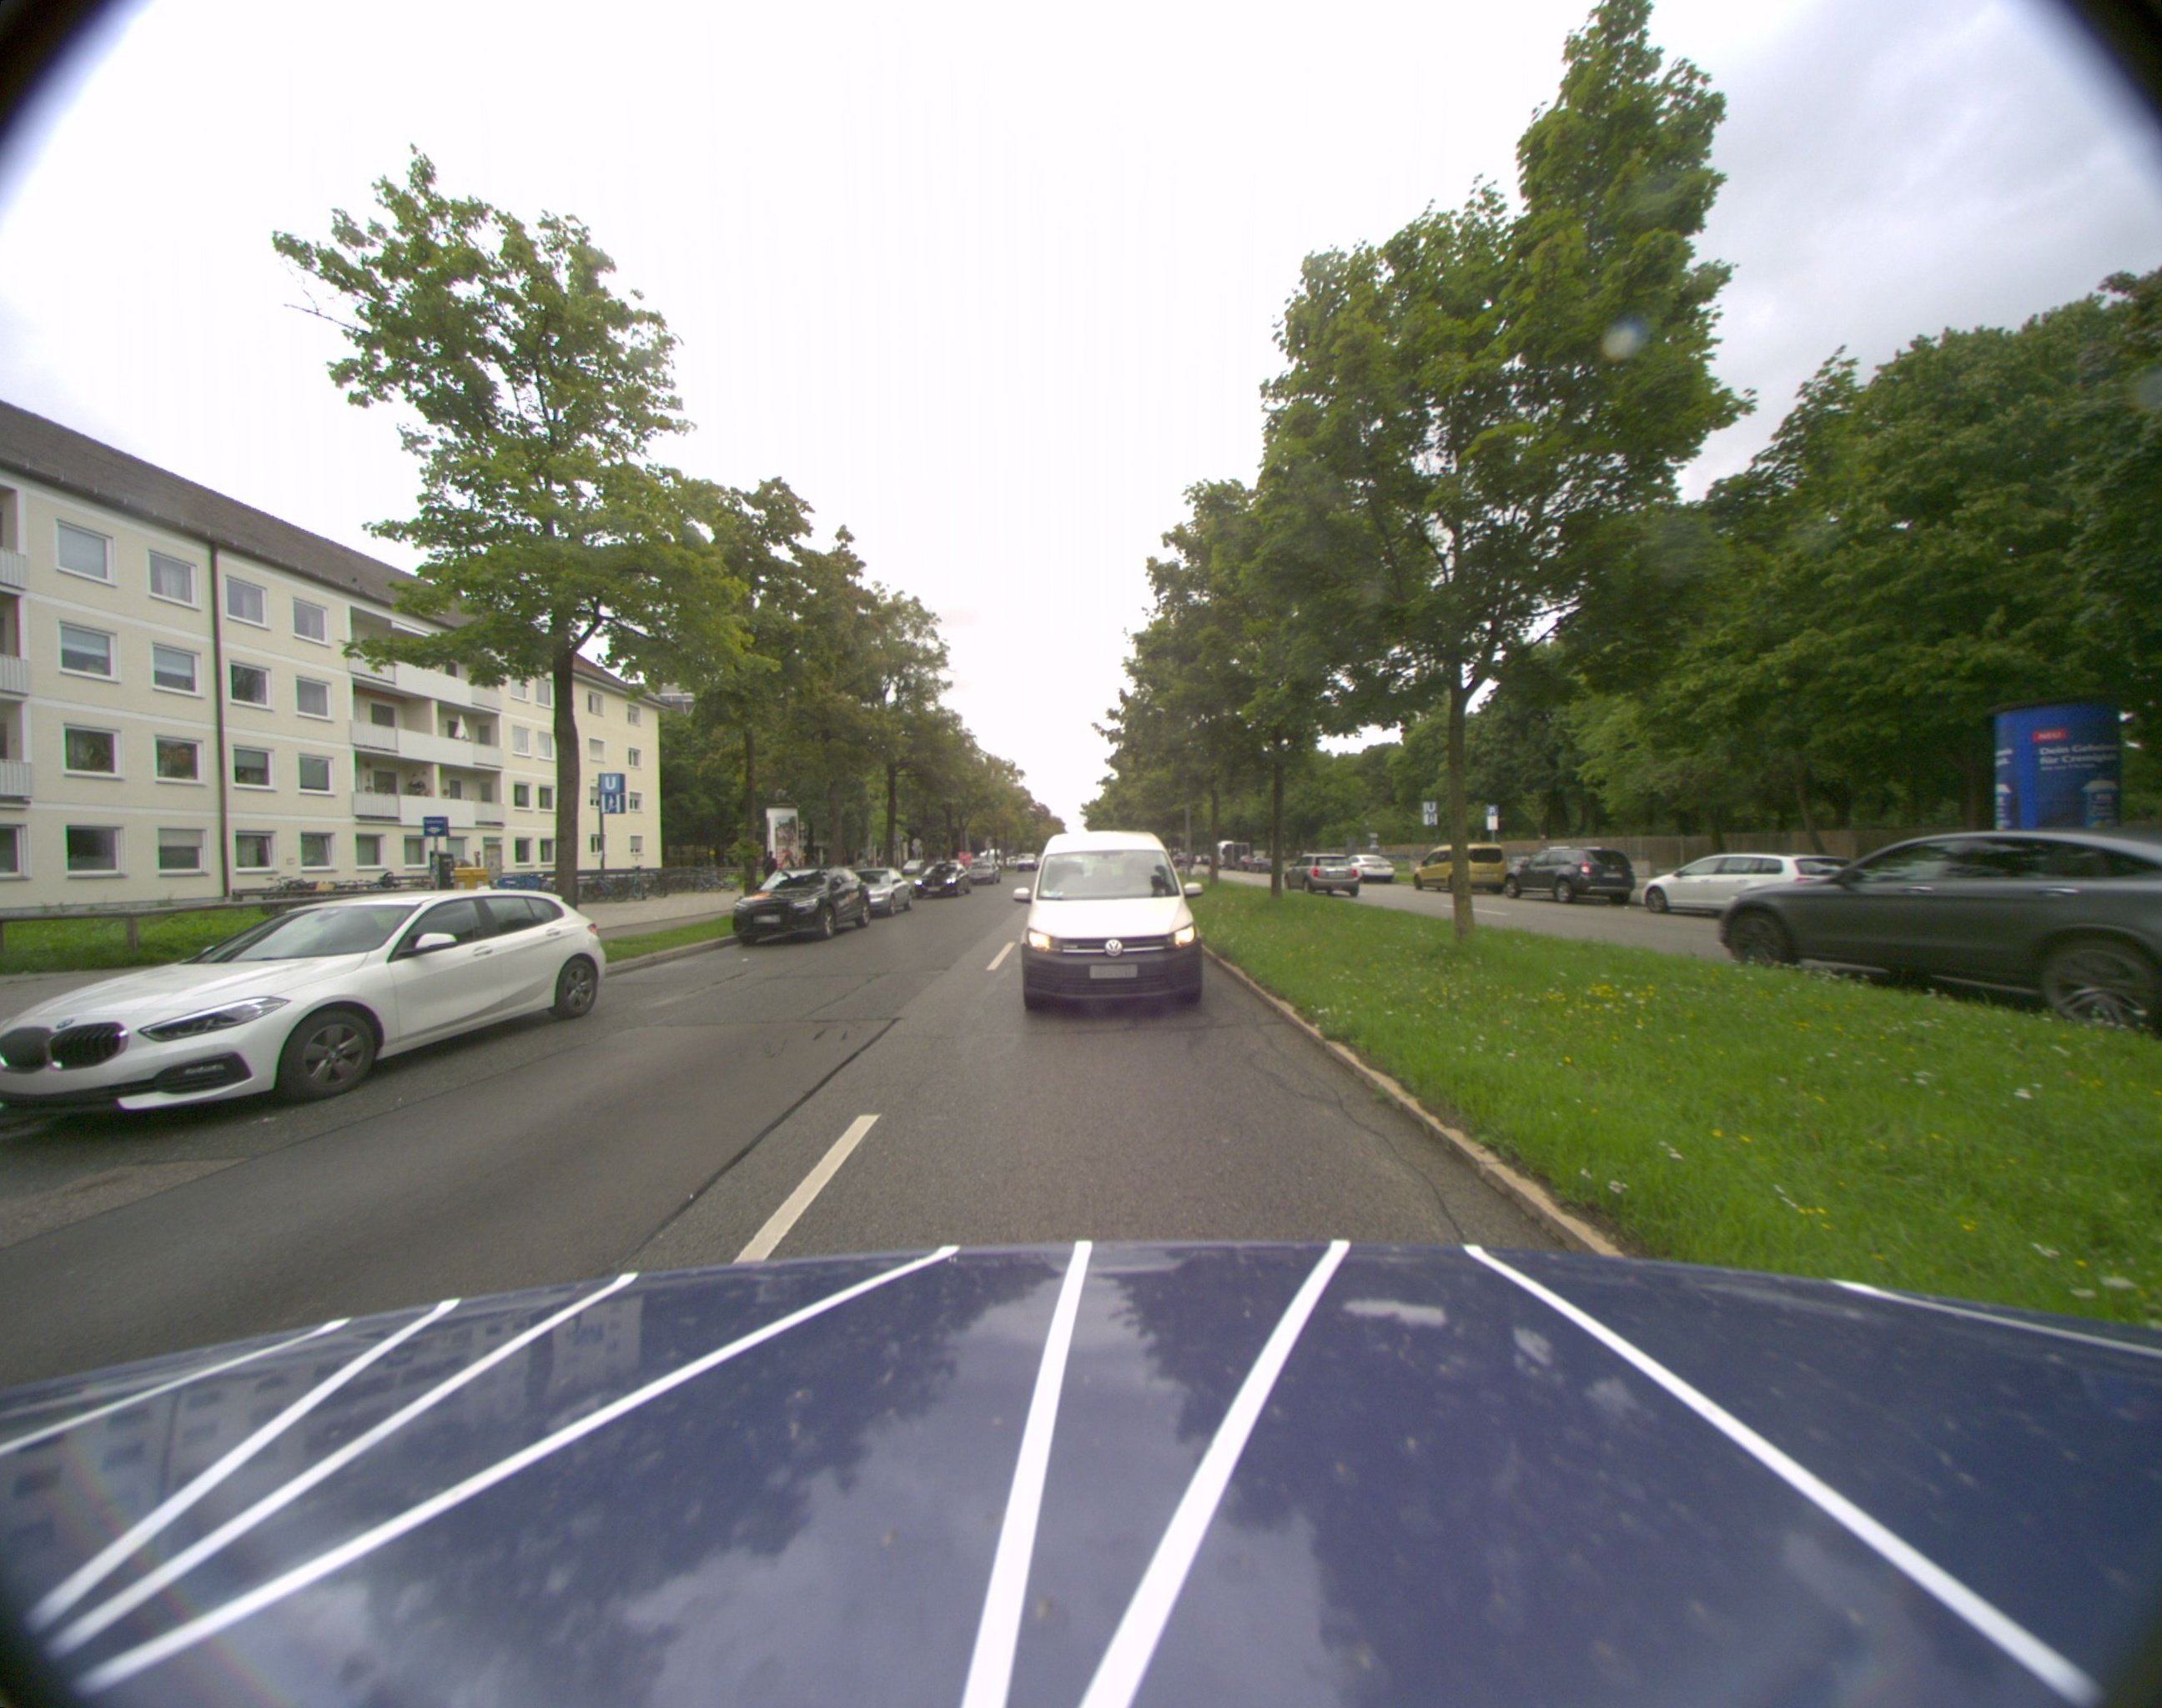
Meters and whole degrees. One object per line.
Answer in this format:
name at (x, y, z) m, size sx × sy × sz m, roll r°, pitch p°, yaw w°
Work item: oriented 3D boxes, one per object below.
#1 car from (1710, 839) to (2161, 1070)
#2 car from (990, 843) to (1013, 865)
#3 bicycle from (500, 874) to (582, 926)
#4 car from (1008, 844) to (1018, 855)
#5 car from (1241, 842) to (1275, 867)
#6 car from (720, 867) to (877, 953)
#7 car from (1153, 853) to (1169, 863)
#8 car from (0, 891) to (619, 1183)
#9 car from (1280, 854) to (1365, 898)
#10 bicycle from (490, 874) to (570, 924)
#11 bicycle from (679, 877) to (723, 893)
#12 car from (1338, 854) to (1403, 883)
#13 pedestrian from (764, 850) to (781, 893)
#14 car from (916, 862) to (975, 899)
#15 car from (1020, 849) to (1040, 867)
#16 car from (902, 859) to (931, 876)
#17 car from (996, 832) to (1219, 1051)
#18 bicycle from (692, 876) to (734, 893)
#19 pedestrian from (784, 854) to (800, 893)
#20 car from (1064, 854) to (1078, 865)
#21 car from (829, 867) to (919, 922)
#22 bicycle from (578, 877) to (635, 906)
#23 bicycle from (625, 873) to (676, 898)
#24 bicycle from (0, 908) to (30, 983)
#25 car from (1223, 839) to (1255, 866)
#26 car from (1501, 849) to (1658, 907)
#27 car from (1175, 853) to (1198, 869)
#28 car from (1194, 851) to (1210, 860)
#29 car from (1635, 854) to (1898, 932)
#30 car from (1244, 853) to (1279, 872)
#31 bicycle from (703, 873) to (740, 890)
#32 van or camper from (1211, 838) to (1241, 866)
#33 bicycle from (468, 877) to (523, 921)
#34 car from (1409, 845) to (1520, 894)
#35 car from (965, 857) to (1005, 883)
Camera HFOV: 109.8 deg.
car at (8.406, 0.687, 6.802) m, size 1.826 × 1.580 × 4.501 m, roll -2°, pitch 0°, yaw 1°
car at (-9.319, -0.070, 89.026) m, size 1.998 × 2.440 × 4.999 m, roll -2°, pitch 1°, yaw 1°
bicycle at (-13.628, 1.129, 19.257) m, size 0.545 × 1.182 × 2.076 m, roll -2°, pitch 0°, yaw 1°
car at (-16.310, -1.070, 183.499) m, size 1.999 × 2.440 × 4.999 m, roll -2°, pitch 0°, yaw -1°
car at (15.211, 0.029, 65.582) m, size 1.998 × 2.002 × 3.999 m, roll -2°, pitch 0°, yaw 0°
car at (-6.003, 1.119, 16.719) m, size 1.826 × 1.502 × 4.157 m, roll -2°, pitch 0°, yaw 0°
car at (11.879, 0.578, 113.021) m, size 1.866 × 1.447 × 4.500 m, roll 1°, pitch 0°, yaw 0°
car at (-6.291, 1.200, 6.593) m, size 1.826 × 1.428 × 4.287 m, roll -3°, pitch 0°, yaw 1°
car at (8.215, 0.697, 26.194) m, size 1.722 × 1.374 × 3.767 m, roll 1°, pitch 0°, yaw 1°
bicycle at (-14.529, 1.154, 20.121) m, size 0.545 × 1.182 × 2.076 m, roll -2°, pitch 0°, yaw 1°
bicycle at (-16.203, 1.315, 32.423) m, size 1.599 × 0.634 × 0.498 m, roll 1°, pitch 1°, yaw -4°
car at (14.961, 0.710, 39.489) m, size 1.717 × 1.434 × 4.040 m, roll 0°, pitch 0°, yaw -2°
pedestrian at (-12.589, 0.710, 30.977) m, size 0.560 × 1.745 × 0.656 m, roll -2°, pitch 1°, yaw -19°
car at (-5.763, 1.101, 32.815) m, size 1.827 × 1.371 × 4.300 m, roll -2°, pitch 0°, yaw -1°
car at (-5.681, 0.428, 84.829) m, size 1.827 × 1.939 × 4.300 m, roll -2°, pitch 0°, yaw 1°
car at (-15.976, 1.269, 73.883) m, size 1.827 × 1.460 × 4.300 m, roll -2°, pitch 0°, yaw 1°
car at (0.228, 0.722, 8.640) m, size 1.772 × 1.742 × 4.545 m, roll -3°, pitch 0°, yaw 0°
bicycle at (-16.112, 1.331, 33.289) m, size 1.599 × 0.691 × 0.498 m, roll -1°, pitch 1°, yaw -4°
pedestrian at (-11.836, 0.794, 31.147) m, size 0.560 × 1.595 × 0.519 m, roll -2°, pitch 1°, yaw -19°
car at (-1.452, 0.779, 114.000) m, size 1.984 × 1.591 × 4.402 m, roll 1°, pitch 0°, yaw 1°
car at (-6.047, 1.140, 22.645) m, size 1.617 × 1.371 × 3.926 m, roll -2°, pitch 0°, yaw -1°
bicycle at (-16.443, 1.293, 26.355) m, size 1.599 × 0.910 × 0.498 m, roll -2°, pitch 1°, yaw -4°
bicycle at (-16.361, 1.191, 28.898) m, size 1.599 × 0.910 × 0.498 m, roll 0°, pitch 1°, yaw -4°
bicycle at (-16.671, 1.362, 10.909) m, size 2.032 × 1.061 × 0.663 m, roll -2°, pitch 1°, yaw -4°
car at (15.131, -0.167, 73.096) m, size 1.999 × 2.576 × 4.499 m, roll 0°, pitch 0°, yaw -2°
car at (14.817, 0.648, 22.908) m, size 2.007 × 1.607 × 4.040 m, roll 0°, pitch 0°, yaw -2°
car at (11.786, 0.761, 85.088) m, size 1.866 × 1.659 × 4.500 m, roll 1°, pitch 0°, yaw 0°
car at (18.540, 0.185, 116.728) m, size 1.717 × 1.401 × 4.040 m, roll 0°, pitch 0°, yaw -2°
car at (14.743, 0.744, 16.745) m, size 1.826 × 1.461 × 4.300 m, roll 0°, pitch 0°, yaw -2°
car at (14.407, 0.644, 60.792) m, size 1.717 × 1.401 × 4.040 m, roll 0°, pitch 0°, yaw -2°
bicycle at (-16.089, 1.223, 34.019) m, size 1.392 × 0.709 × 0.498 m, roll 1°, pitch 1°, yaw -4°
van or camper at (14.928, -0.203, 78.214) m, size 1.999 × 2.791 × 4.931 m, roll 0°, pitch 0°, yaw -2°
bicycle at (-15.749, 1.193, 20.472) m, size 0.466 × 1.110 × 1.253 m, roll -2°, pitch 1°, yaw 1°
car at (14.561, 0.538, 29.180) m, size 1.862 × 1.761 × 4.533 m, roll 0°, pitch 0°, yaw -2°
car at (-5.895, 0.948, 46.939) m, size 1.827 × 1.460 × 4.300 m, roll -2°, pitch 0°, yaw 1°
